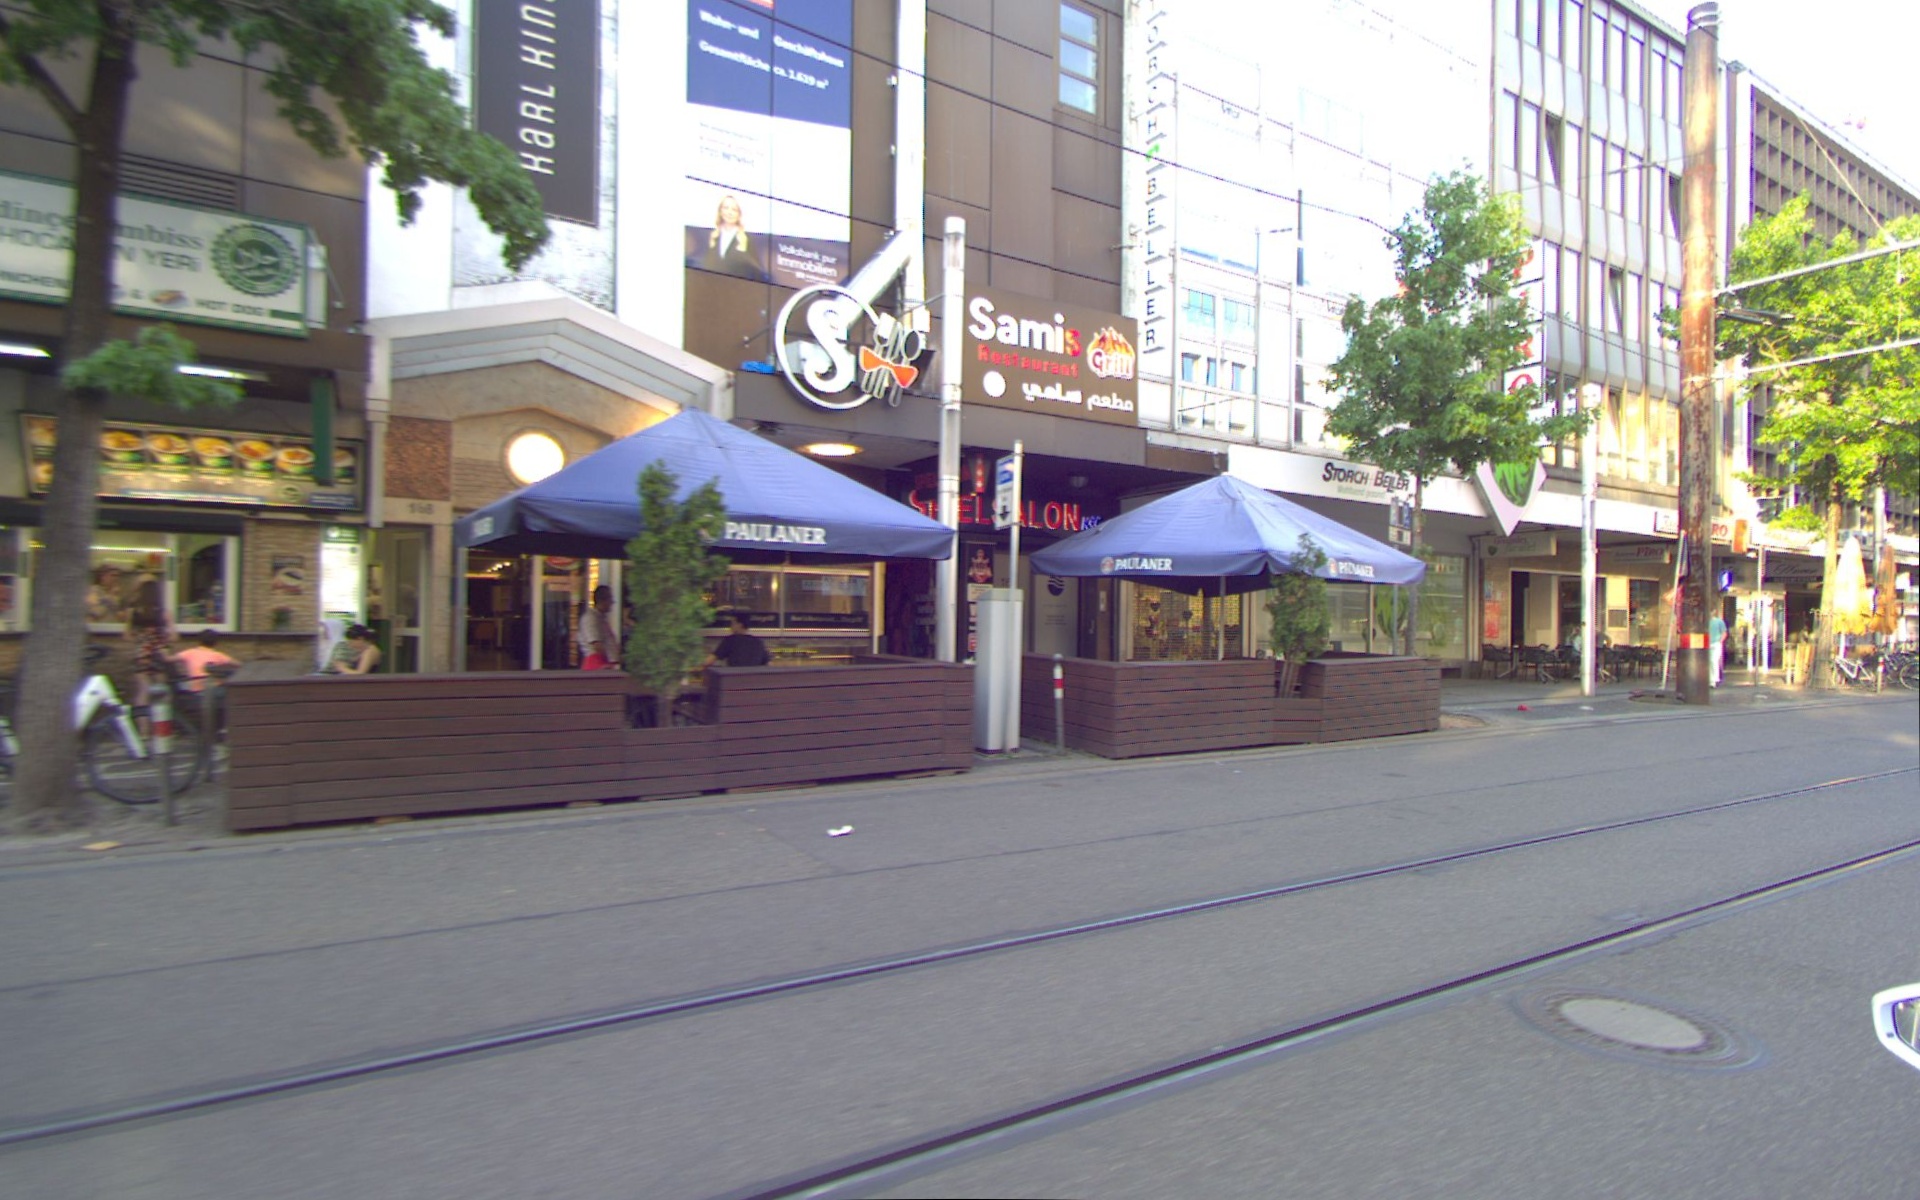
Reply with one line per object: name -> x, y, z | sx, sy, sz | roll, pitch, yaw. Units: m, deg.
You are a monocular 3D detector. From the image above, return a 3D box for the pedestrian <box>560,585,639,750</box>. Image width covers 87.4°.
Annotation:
pedestrian -> -3.622, 0.657, 10.078 | 0.559, 1.573, 0.652 | 2, 1, -33

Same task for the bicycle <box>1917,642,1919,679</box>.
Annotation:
bicycle -> 29.606, 1.852, 29.725 | 0.485, 1.085, 1.759 | 0, 1, -36

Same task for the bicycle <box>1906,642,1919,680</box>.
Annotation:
bicycle -> 28.624, 1.818, 29.060 | 0.485, 1.085, 1.759 | 0, 1, -36

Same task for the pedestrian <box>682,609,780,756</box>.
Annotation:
pedestrian -> -2.387, 0.831, 10.445 | 0.738, 1.420, 0.760 | 2, 1, -32

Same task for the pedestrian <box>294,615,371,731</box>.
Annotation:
pedestrian -> -6.774, 0.769, 10.849 | 0.658, 1.172, 0.637 | 2, 1, -33

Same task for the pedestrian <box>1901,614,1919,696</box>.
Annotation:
pedestrian -> 21.731, 1.222, 22.351 | 0.806, 1.816, 0.990 | 1, -1, 20

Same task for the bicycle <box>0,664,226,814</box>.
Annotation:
bicycle -> -6.439, 0.977, 7.217 | 0.472, 0.938, 1.819 | 2, 1, 38

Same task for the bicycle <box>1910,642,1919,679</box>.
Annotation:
bicycle -> 29.053, 1.833, 29.392 | 0.485, 1.085, 1.759 | 0, 1, -36

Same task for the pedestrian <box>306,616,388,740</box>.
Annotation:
pedestrian -> -6.246, 0.776, 10.229 | 0.658, 1.172, 0.637 | 2, 1, -33

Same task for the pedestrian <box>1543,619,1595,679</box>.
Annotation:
pedestrian -> 14.406, 1.153, 23.762 | 0.902, 1.343, 0.666 | 2, 1, -33

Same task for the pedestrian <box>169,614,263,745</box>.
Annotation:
pedestrian -> -7.165, 0.746, 9.696 | 0.658, 1.172, 0.637 | 2, 1, -33

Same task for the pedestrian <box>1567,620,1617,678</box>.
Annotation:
pedestrian -> 15.379, 1.185, 24.441 | 0.902, 1.343, 0.666 | 2, 1, -33

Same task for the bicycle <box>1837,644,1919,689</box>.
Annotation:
bicycle -> 23.289, 1.664, 25.266 | 0.485, 1.003, 1.759 | 0, 1, -36

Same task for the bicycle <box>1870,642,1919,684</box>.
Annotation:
bicycle -> 26.094, 1.734, 27.439 | 0.485, 1.085, 1.759 | 0, 1, -36

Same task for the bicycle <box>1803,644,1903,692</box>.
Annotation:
bicycle -> 21.096, 1.589, 23.765 | 0.481, 0.978, 1.772 | 2, 1, -14

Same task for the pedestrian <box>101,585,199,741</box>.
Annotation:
pedestrian -> -8.039, 0.608, 9.990 | 0.636, 1.453, 0.657 | 2, 3, -31

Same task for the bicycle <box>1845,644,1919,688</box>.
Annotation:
bicycle -> 23.728, 1.679, 25.550 | 0.485, 1.003, 1.759 | 0, 1, -36

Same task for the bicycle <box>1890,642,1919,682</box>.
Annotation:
bicycle -> 27.584, 1.784, 28.450 | 0.485, 1.085, 1.759 | 0, 1, -36

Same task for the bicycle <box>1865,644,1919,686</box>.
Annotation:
bicycle -> 24.916, 1.718, 26.282 | 0.485, 1.003, 1.759 | 0, 1, -36

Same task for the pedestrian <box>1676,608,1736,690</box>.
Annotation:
pedestrian -> 17.056, 1.115, 22.970 | 0.978, 1.816, 0.681 | 2, 1, -28

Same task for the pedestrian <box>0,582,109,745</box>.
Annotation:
pedestrian -> -8.637, 0.588, 9.605 | 0.636, 1.453, 0.657 | 2, 3, -31

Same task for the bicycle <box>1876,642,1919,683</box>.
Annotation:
bicycle -> 26.568, 1.750, 27.758 | 0.485, 1.085, 1.759 | 0, 1, -36
